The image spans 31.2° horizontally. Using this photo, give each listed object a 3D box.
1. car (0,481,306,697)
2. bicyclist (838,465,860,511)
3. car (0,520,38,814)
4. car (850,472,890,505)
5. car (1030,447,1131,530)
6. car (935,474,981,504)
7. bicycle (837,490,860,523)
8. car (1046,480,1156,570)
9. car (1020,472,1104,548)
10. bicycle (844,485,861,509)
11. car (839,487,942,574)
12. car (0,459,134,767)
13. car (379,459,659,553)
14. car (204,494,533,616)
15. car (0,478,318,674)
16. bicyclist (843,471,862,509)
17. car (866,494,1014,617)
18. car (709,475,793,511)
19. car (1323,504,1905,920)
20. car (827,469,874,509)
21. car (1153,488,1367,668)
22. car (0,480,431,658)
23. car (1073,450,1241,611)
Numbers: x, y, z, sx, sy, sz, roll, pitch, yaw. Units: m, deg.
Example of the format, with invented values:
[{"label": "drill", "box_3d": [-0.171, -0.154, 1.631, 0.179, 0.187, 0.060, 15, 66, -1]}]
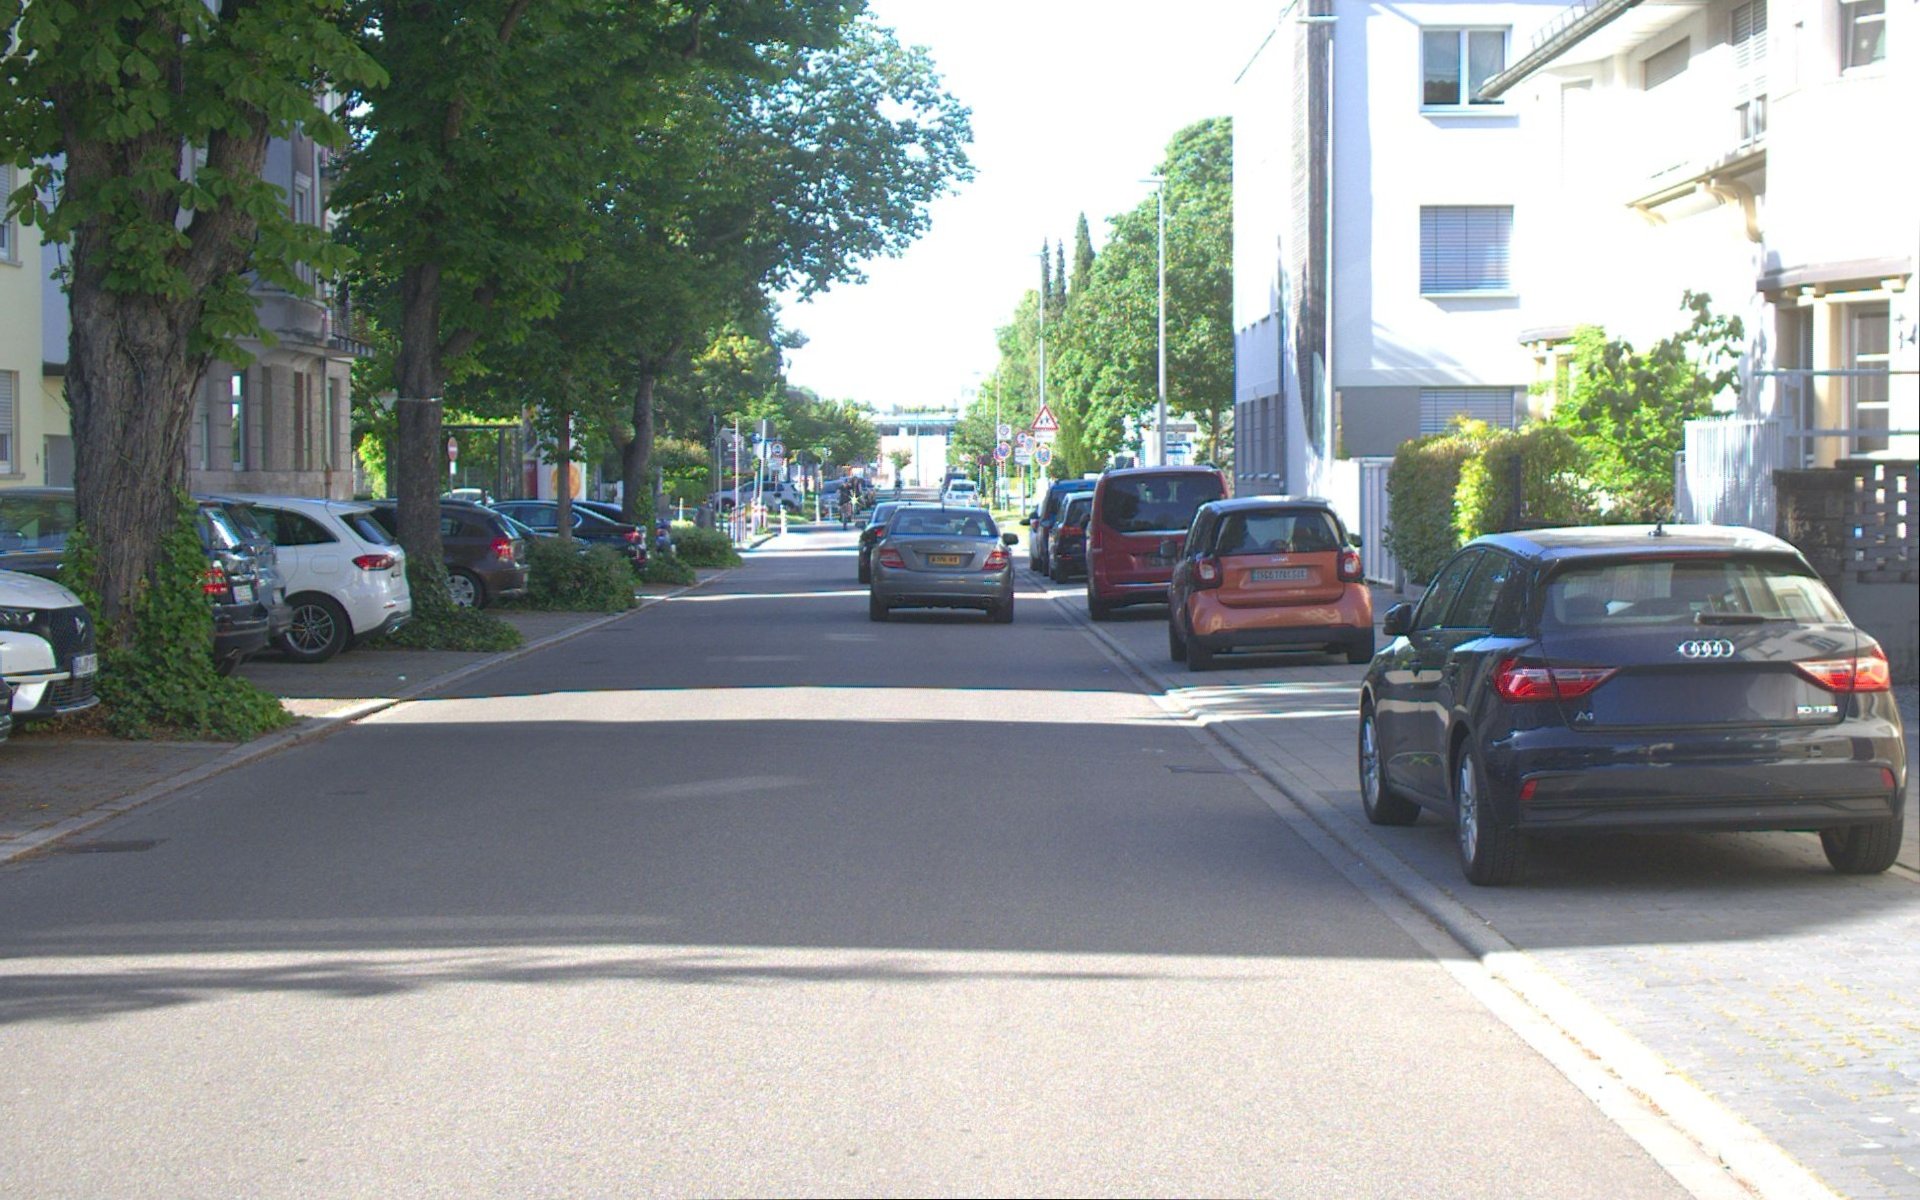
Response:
[{"label": "car", "box_3d": [-7.377, -0.136, 27.137, 3.987, 1.569, 1.981, 1, 3, 3]}, {"label": "bicyclist", "box_3d": [-3.756, -3.791, 116.205, 0.721, 1.531, 1.137, 0, 2, 0]}, {"label": "car", "box_3d": [-6.824, 0.366, 17.129, 3.987, 1.463, 1.697, 0, 2, -1]}, {"label": "car", "box_3d": [-4.643, -5.728, 176.659, 1.787, 1.527, 4.001, -4, 1, -4]}, {"label": "car", "box_3d": [2.297, -2.148, 66.636, 1.682, 1.430, 4.266, -4, 1, 0]}, {"label": "car", "box_3d": [-0.108, -5.032, 155.725, 1.722, 1.325, 4.001, 0, 2, -5]}, {"label": "bicycle", "box_3d": [-3.760, -3.170, 116.245, 0.719, 1.075, 1.891, 0, 2, 0]}, {"label": "car", "box_3d": [2.456, -1.358, 60.719, 1.737, 1.526, 4.179, 0, 2, 0]}, {"label": "car", "box_3d": [2.081, -1.848, 70.834, 1.564, 1.406, 3.730, -4, 1, 1]}, {"label": "bicycle", "box_3d": [-4.291, -4.095, 136.998, 0.589, 0.928, 1.850, 0, 3, 1]}, {"label": "car", "box_3d": [-1.223, -1.240, 60.845, 1.707, 1.443, 4.203, 2, 1, -1]}, {"label": "car", "box_3d": [-7.230, 0.087, 19.925, 4.386, 1.646, 1.823, -1, 4, 1]}, {"label": "car", "box_3d": [-7.334, -1.573, 57.469, 4.473, 1.474, 1.869, 1, 1, -2]}, {"label": "car", "box_3d": [-7.657, -0.604, 44.736, 3.987, 1.416, 1.771, 1, 4, -1]}, {"label": "car", "box_3d": [-7.520, -0.242, 29.792, 3.515, 1.569, 1.771, 1, 3, 3]}, {"label": "bicyclist", "box_3d": [-4.280, -4.392, 136.934, 0.680, 1.503, 0.655, 0, 3, 1]}, {"label": "car", "box_3d": [-0.225, -0.587, 43.096, 1.726, 1.415, 3.961, 2, 1, 0]}, {"label": "car", "box_3d": [-8.988, -4.610, 147.900, 3.493, 1.528, 1.645, -1, 2, -7]}, {"label": "car", "box_3d": [2.709, 0.373, 15.080, 1.619, 1.435, 3.936, -3, 3, -2]}, {"label": "car", "box_3d": [-4.883, -4.978, 153.391, 1.872, 1.722, 4.001, -1, 3, -5]}, {"label": "car", "box_3d": [2.708, -0.242, 31.589, 1.592, 1.475, 3.248, -2, 3, -1]}, {"label": "car", "box_3d": [-7.118, -0.314, 32.242, 4.022, 1.479, 1.807, 2, 3, -1]}, {"label": "car", "box_3d": [2.461, -0.929, 44.086, 1.871, 1.898, 5.198, -1, 2, 1]}]
